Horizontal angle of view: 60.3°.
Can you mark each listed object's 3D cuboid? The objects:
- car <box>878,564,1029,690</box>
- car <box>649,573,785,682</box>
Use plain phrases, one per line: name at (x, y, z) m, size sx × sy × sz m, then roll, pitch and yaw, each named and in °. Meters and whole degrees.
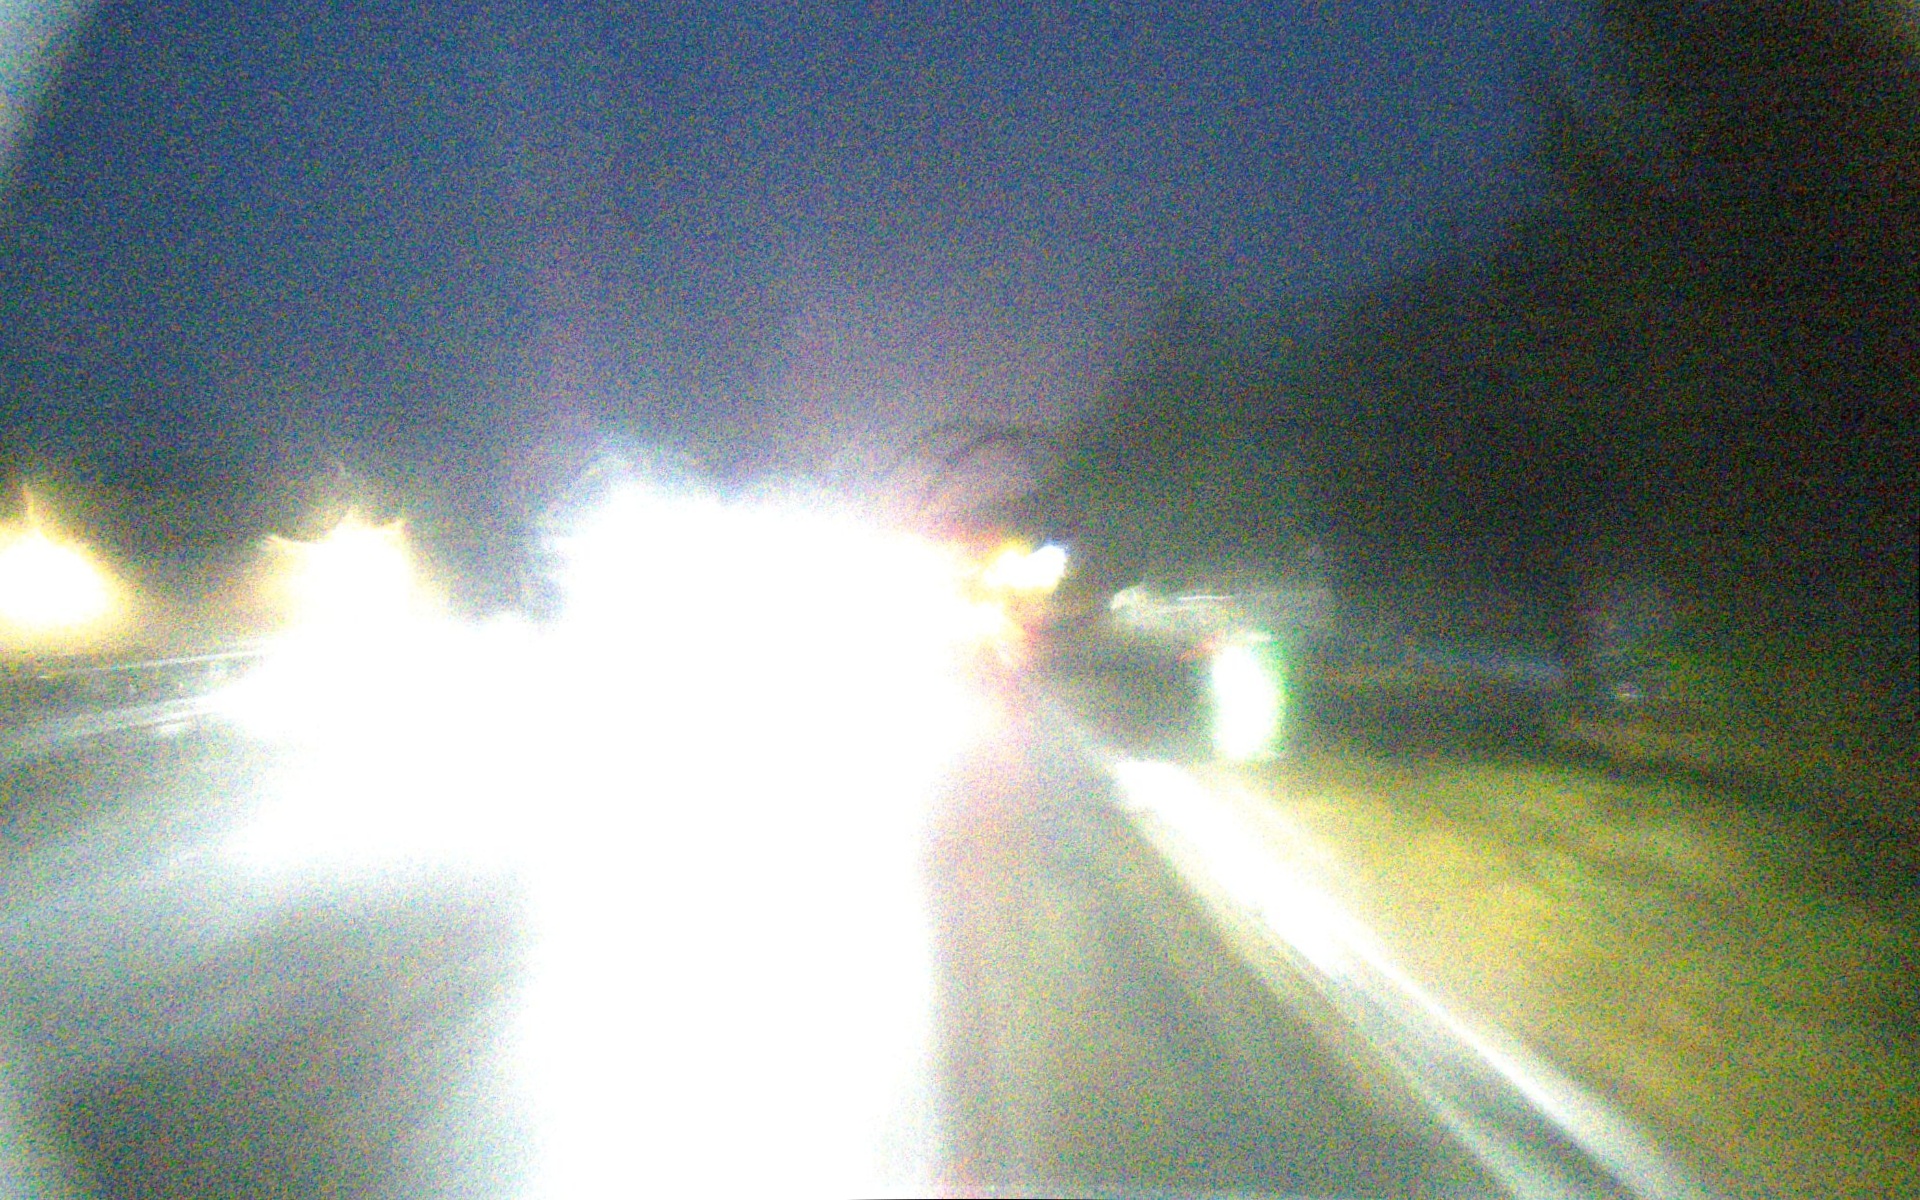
car at (-0.223, 0.470, 29.063) m, size 2.409 × 1.993 × 4.908 m, roll -1°, pitch -1°, yaw -3°
car at (-4.242, 0.422, 29.488) m, size 1.818 × 1.712 × 4.324 m, roll -3°, pitch 1°, yaw -1°
